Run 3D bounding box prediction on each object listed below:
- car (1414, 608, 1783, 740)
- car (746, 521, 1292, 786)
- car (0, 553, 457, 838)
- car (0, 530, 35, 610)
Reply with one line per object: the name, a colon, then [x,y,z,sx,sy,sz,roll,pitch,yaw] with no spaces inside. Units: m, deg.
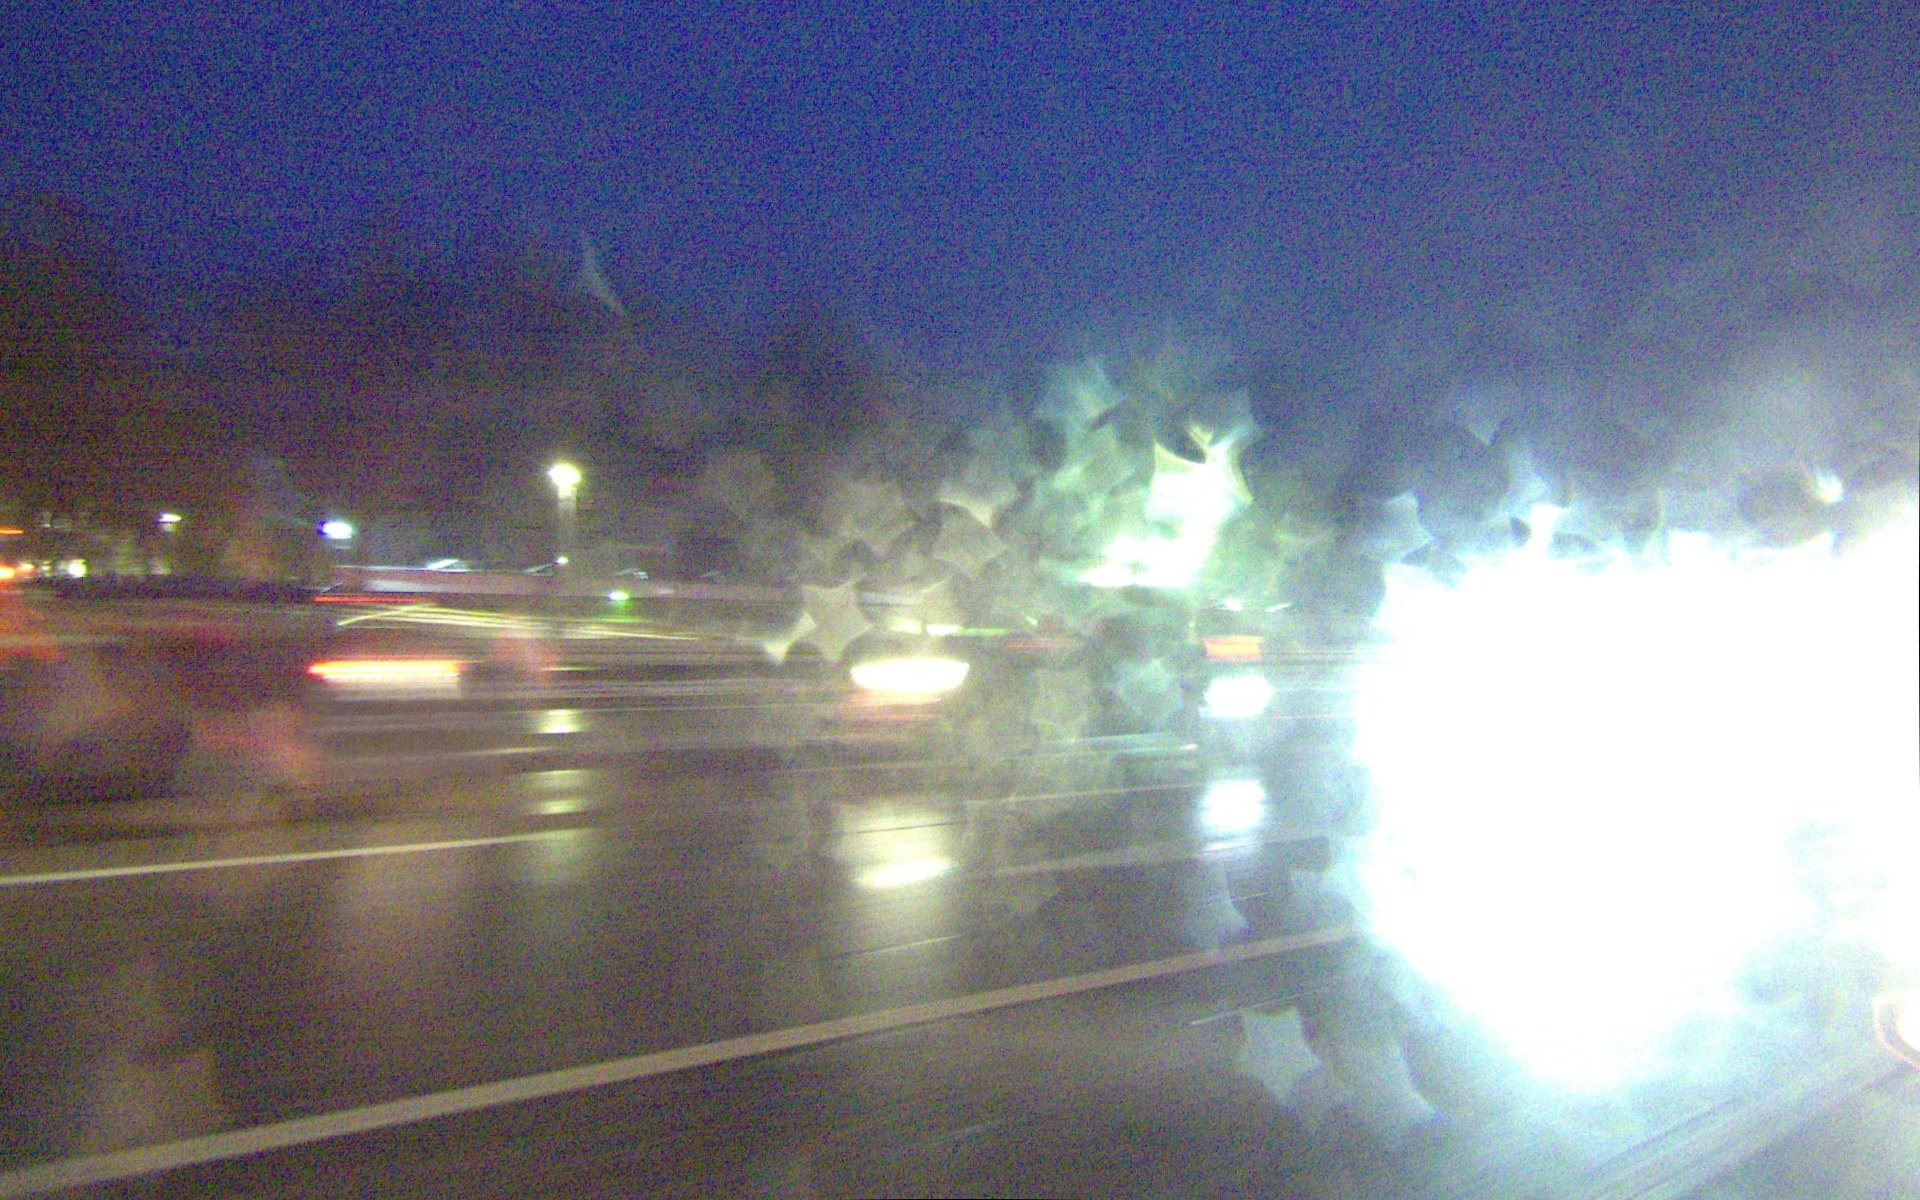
car: [9.232,0.980,14.474,5.136,1.579,2.174,1,0,-27]
car: [0.635,0.452,9.844,4.933,2.040,2.145,2,1,-28]
car: [-5.318,0.511,6.506,3.641,1.549,1.958,2,1,-28]
car: [-31.200,-0.979,29.222,5.946,2.338,1.985,2,1,-28]
